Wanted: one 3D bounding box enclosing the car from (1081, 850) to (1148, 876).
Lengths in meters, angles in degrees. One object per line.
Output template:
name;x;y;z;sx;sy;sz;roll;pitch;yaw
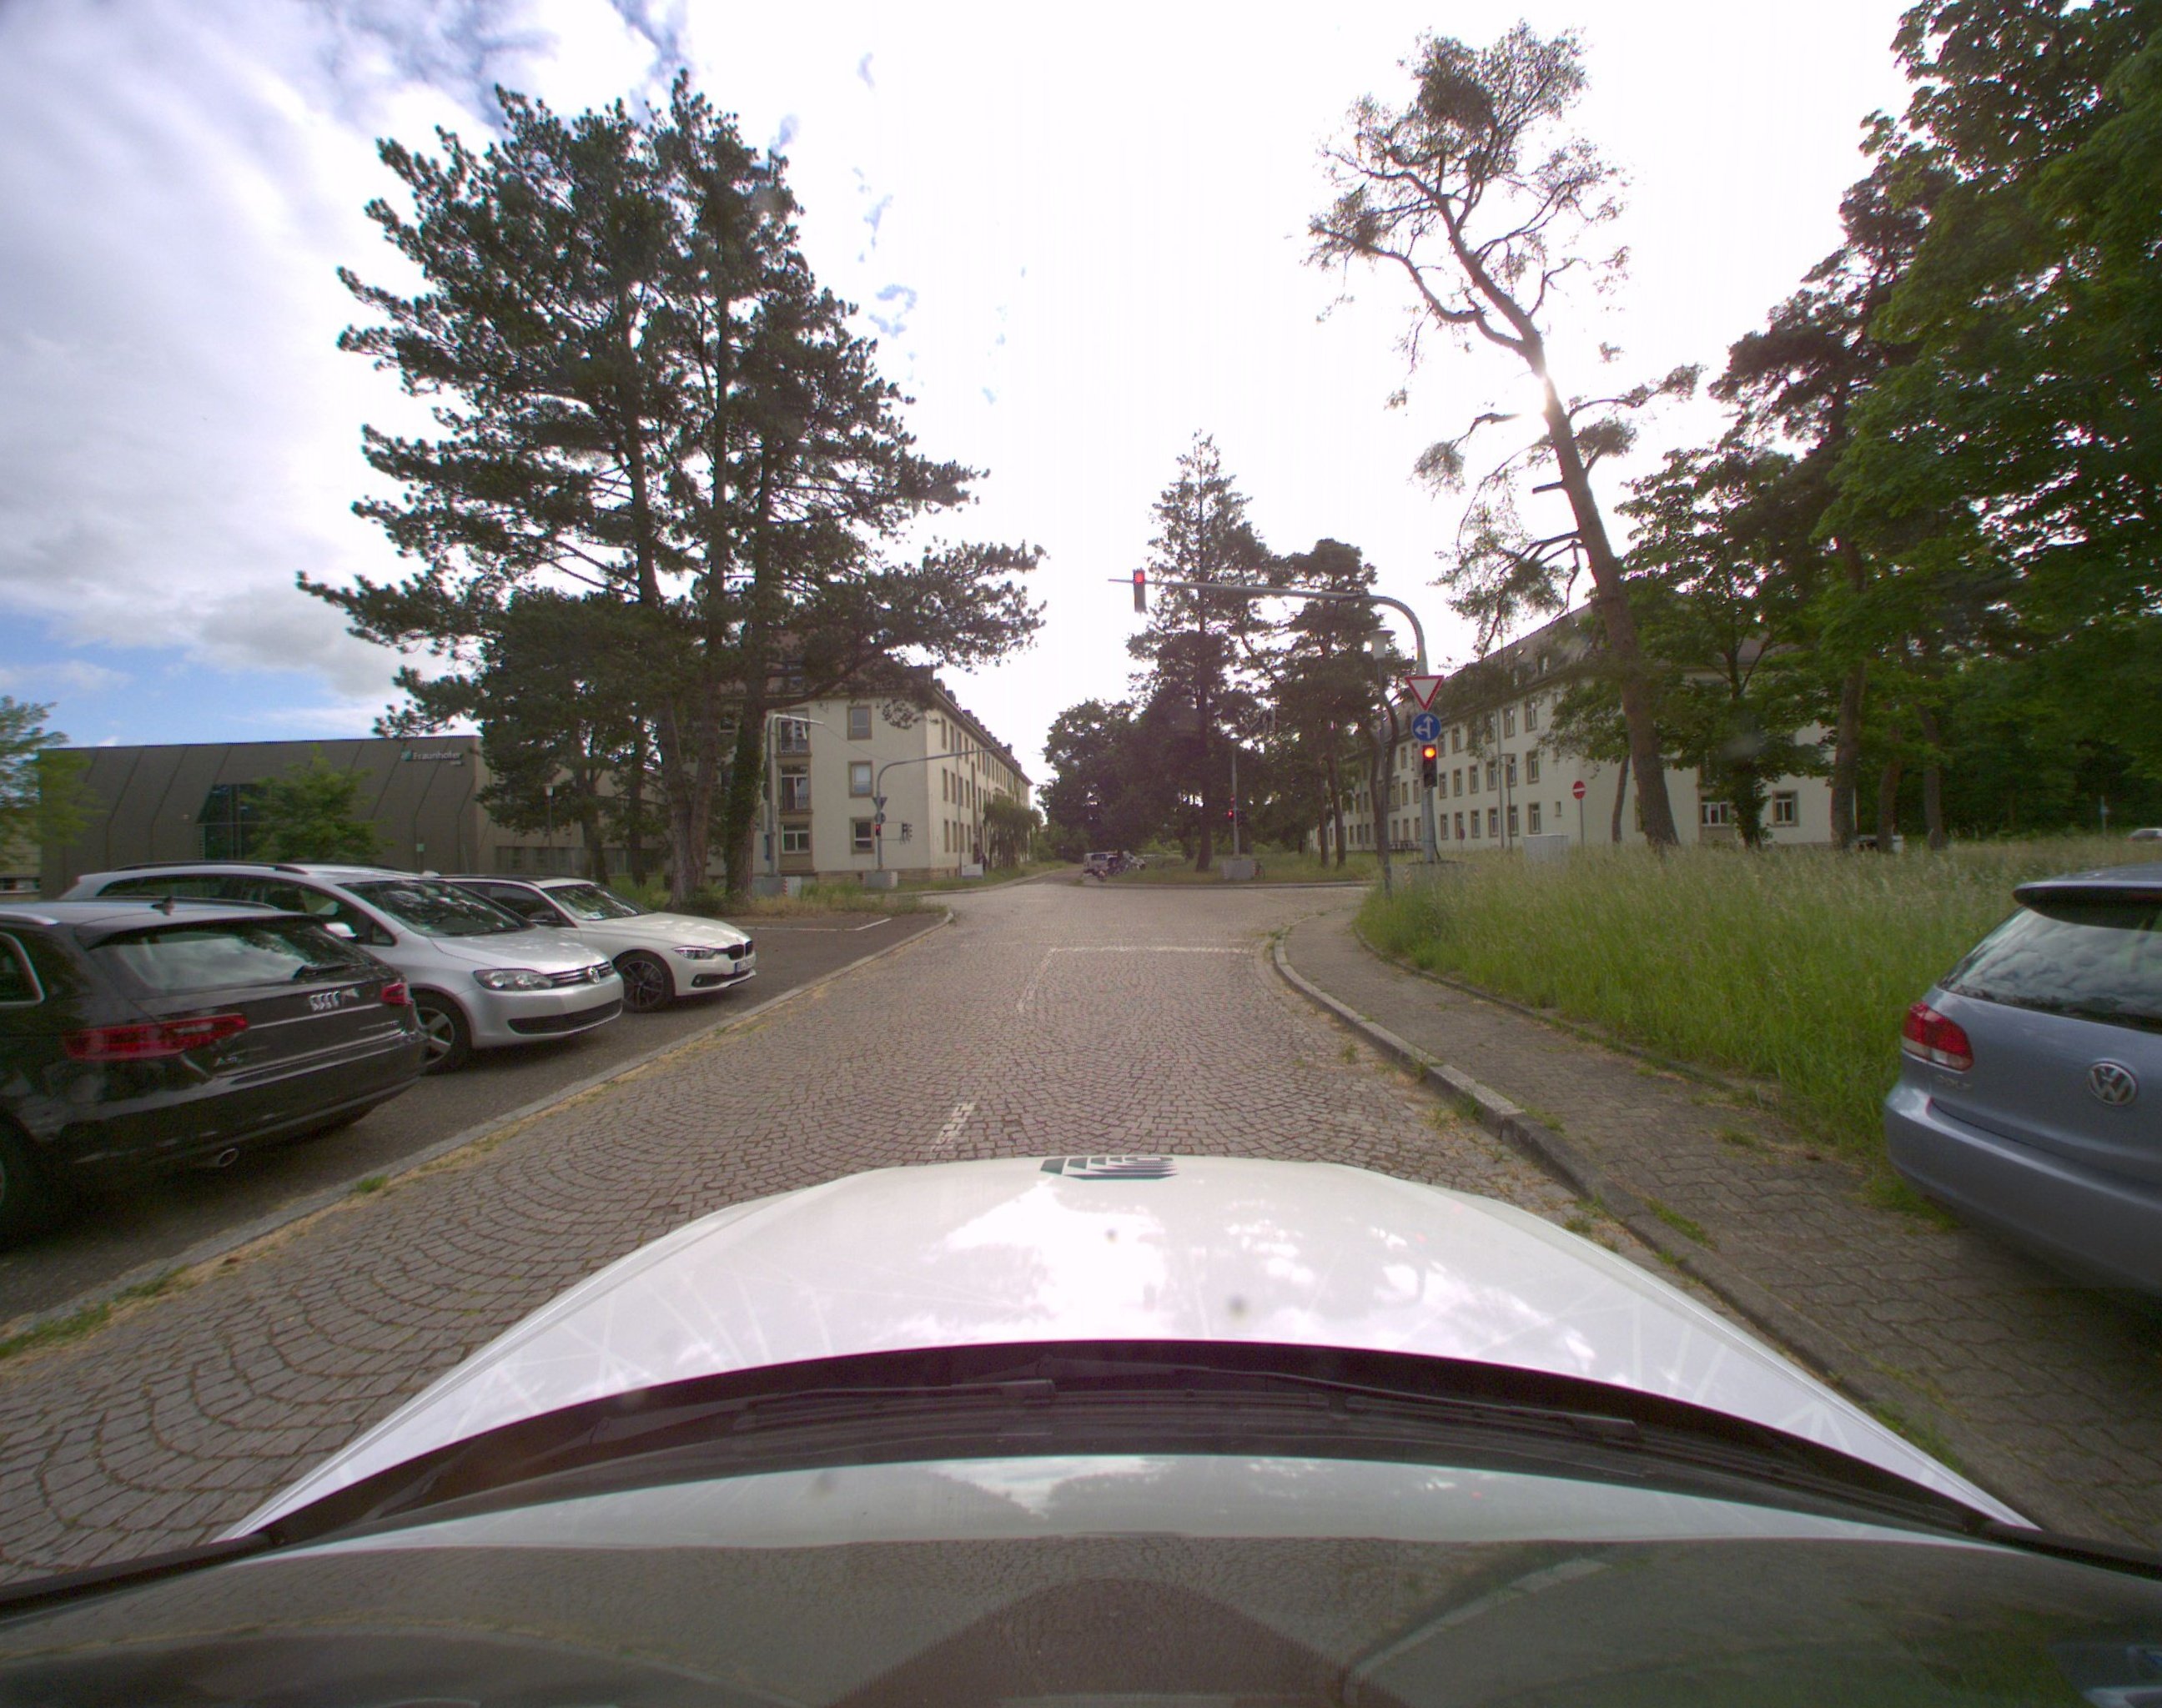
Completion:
car;2.845;0.737;69.132;5.357;1.925;2.020;-3;0;-8

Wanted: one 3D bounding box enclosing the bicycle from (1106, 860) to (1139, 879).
bicycle;2.626;0.974;51.673;1.952;1.117;0.587;-2;0;-6

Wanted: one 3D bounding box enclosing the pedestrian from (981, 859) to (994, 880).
pedestrian;-7.585;1.263;66.170;0.768;1.618;0.743;-2;0;12

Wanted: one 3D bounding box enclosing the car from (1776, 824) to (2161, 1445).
car;4.582;0.594;2.177;3.911;1.477;1.644;-4;0;3

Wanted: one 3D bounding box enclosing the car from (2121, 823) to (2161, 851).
car;58.705;-0.882;43.516;3.930;1.421;1.652;1;0;4

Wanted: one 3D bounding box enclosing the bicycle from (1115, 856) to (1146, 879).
bicycle;3.188;0.879;52.494;1.952;1.384;0.587;-2;0;-6

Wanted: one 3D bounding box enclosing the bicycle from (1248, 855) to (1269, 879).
bicycle;8.463;0.596;38.811;0.584;1.106;1.962;-2;0;2

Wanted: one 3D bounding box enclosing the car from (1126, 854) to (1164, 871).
car;5.690;0.778;72.958;3.223;1.416;1.724;-2;0;-1

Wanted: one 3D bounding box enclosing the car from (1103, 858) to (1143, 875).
car;3.368;0.986;65.662;3.000;1.268;1.533;-2;0;-5

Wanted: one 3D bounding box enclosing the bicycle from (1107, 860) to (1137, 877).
bicycle;2.825;0.995;55.859;1.963;1.069;0.583;-2;0;-23

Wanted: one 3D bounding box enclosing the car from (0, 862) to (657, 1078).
car;-6.038;0.881;6.918;3.937;1.563;1.649;1;0;-2

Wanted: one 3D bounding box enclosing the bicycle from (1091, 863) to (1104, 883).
bicycle;0.973;1.087;47.856;0.602;1.132;1.959;-2;0;-4

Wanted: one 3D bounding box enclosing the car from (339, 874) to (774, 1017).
car;-5.871;0.987;9.452;3.934;1.421;1.650;1;0;0

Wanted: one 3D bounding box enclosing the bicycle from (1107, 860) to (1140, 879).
bicycle;2.669;0.947;51.039;1.952;1.132;0.587;-2;0;-6

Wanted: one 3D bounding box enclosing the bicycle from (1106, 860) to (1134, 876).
bicycle;2.792;1.005;58.193;1.963;1.069;0.583;-2;0;-23

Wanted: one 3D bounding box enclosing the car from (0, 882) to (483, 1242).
car;-5.564;0.899;4.178;3.735;1.428;1.581;1;0;-2

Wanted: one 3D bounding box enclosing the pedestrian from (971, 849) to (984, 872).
pedestrian;-8.498;0.559;67.007;0.778;1.837;0.734;-2;-1;-30

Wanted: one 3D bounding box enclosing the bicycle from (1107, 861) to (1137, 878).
bicycle;2.759;1.006;54.505;1.966;1.069;0.582;-2;0;-28

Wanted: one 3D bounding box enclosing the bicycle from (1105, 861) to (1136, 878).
bicycle;2.566;1.005;53.159;1.966;1.069;0.582;-2;0;-28
